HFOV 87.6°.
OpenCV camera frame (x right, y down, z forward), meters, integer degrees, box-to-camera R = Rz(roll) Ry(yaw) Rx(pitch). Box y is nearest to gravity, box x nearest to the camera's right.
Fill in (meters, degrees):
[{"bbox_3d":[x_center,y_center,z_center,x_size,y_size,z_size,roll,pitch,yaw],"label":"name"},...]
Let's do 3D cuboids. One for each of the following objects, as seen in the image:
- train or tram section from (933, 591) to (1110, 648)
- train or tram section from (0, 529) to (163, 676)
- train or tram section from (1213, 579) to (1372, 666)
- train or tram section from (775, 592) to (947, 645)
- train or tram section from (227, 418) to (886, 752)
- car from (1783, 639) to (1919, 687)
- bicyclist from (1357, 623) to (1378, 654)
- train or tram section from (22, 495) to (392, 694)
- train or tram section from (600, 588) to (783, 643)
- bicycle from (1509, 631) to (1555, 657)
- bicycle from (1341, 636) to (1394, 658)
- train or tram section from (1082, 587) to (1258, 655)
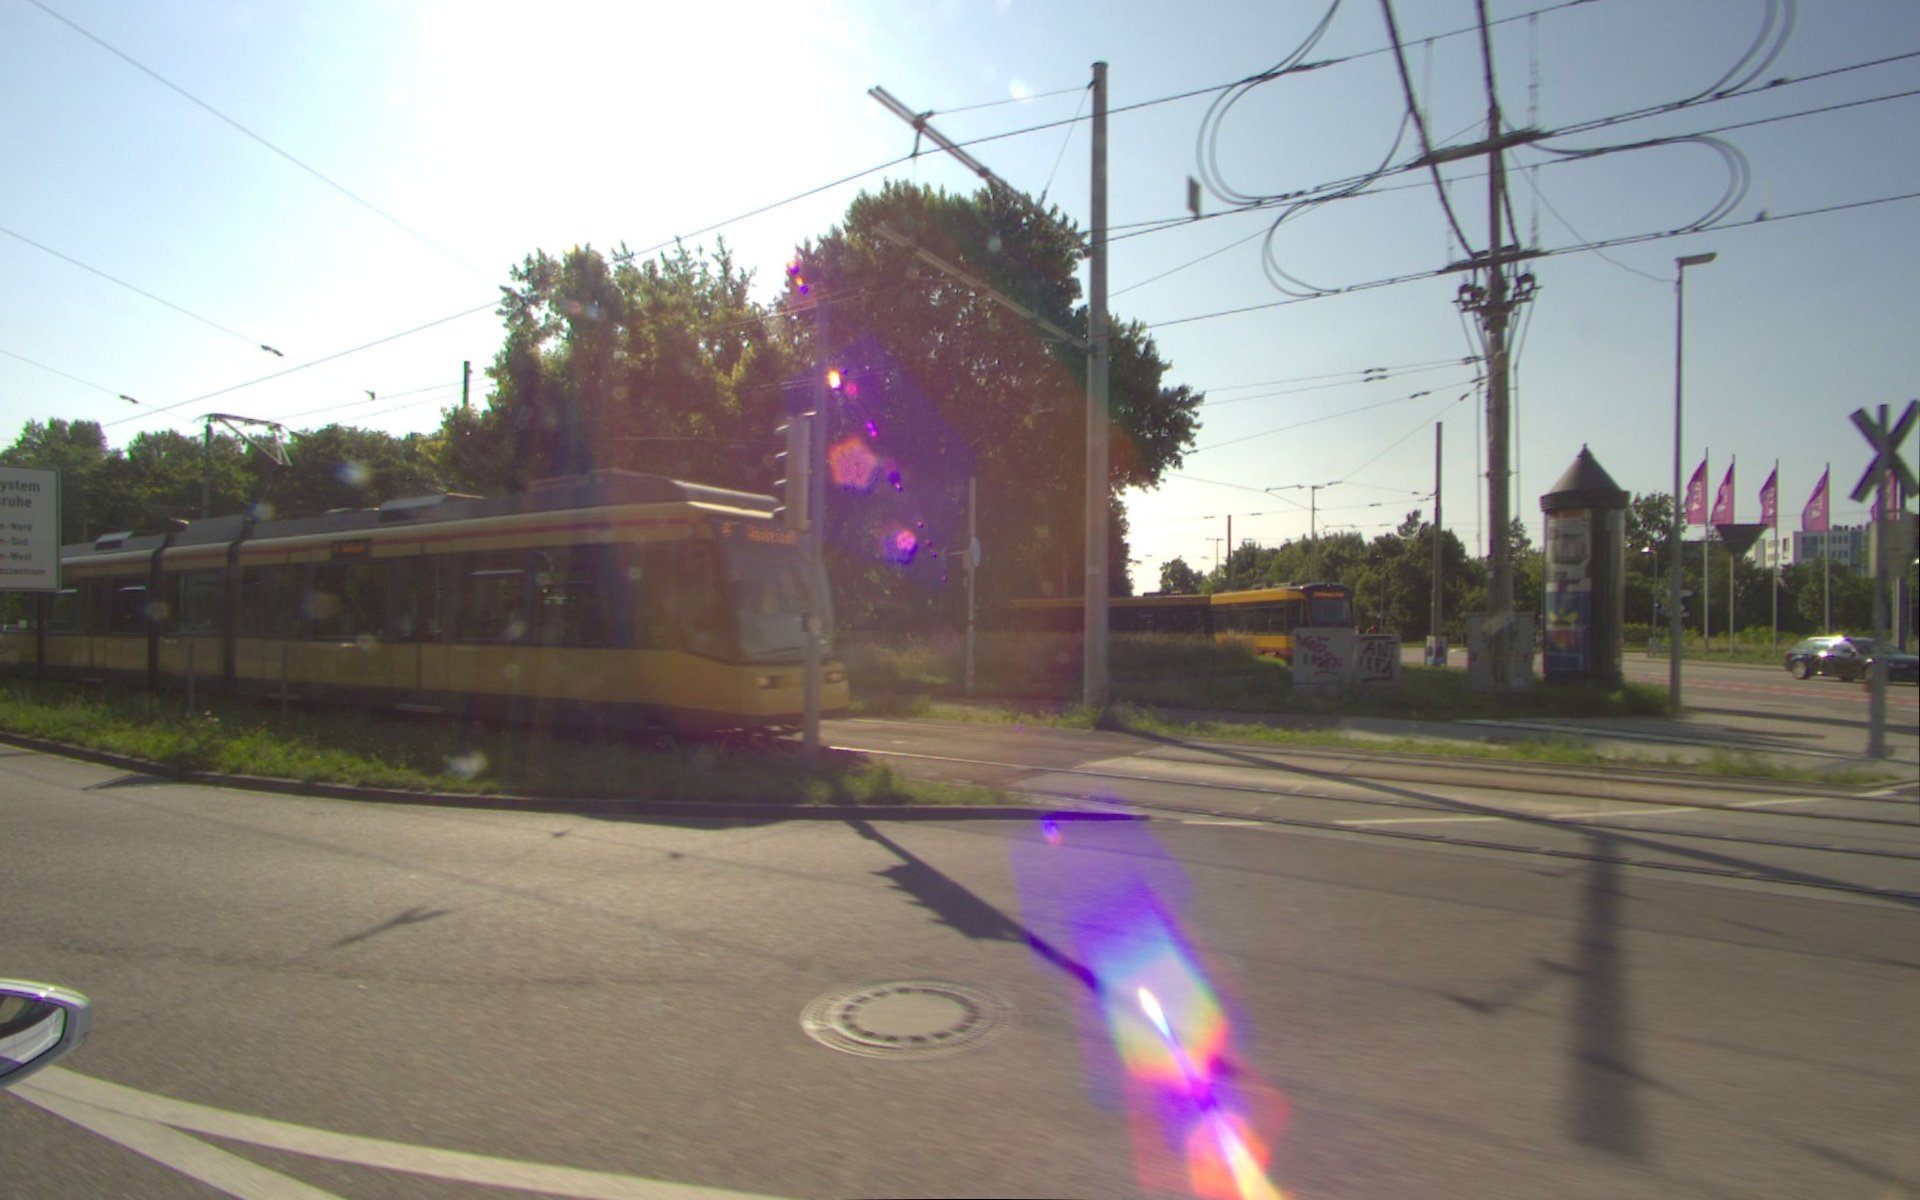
[{"bbox_3d":[4.020,1.325,68.123,12.057,3.626,3.038,0,-1,33],"label":"train or tram section"},{"bbox_3d":[-27.865,0.230,29.091,14.756,3.524,2.681,-1,-2,33],"label":"train or tram section"},{"bbox_3d":[15.380,1.082,47.750,2.995,3.625,11.854,1,-1,-3],"label":"train or tram section"},{"bbox_3d":[-6.975,1.353,71.744,11.992,3.626,3.055,1,-1,-2],"label":"train or tram section"},{"bbox_3d":[-7.076,-0.013,15.665,12.775,3.664,2.791,-1,-2,33],"label":"train or tram section"},{"bbox_3d":[28.742,1.954,31.864,1.715,1.352,4.308,1,-1,3],"label":"car"},{"bbox_3d":[27.586,2.603,67.813,1.078,2.039,1.140,0,-2,9],"label":"bicyclist"},{"bbox_3d":[-16.995,0.036,22.177,11.095,3.598,2.746,-1,-2,32],"label":"train or tram section"},{"bbox_3d":[-18.665,1.176,69.974,12.031,3.626,3.045,1,-1,-23],"label":"train or tram section"},{"bbox_3d":[39.012,3.009,68.280,2.563,1.735,0.795,1,-1,12],"label":"bicycle"},{"bbox_3d":[27.561,3.196,67.804,3.167,1.472,1.131,0,-2,9],"label":"bicycle"},{"bbox_3d":[12.048,1.247,59.406,3.010,3.625,12.171,1,-1,-29],"label":"train or tram section"}]
